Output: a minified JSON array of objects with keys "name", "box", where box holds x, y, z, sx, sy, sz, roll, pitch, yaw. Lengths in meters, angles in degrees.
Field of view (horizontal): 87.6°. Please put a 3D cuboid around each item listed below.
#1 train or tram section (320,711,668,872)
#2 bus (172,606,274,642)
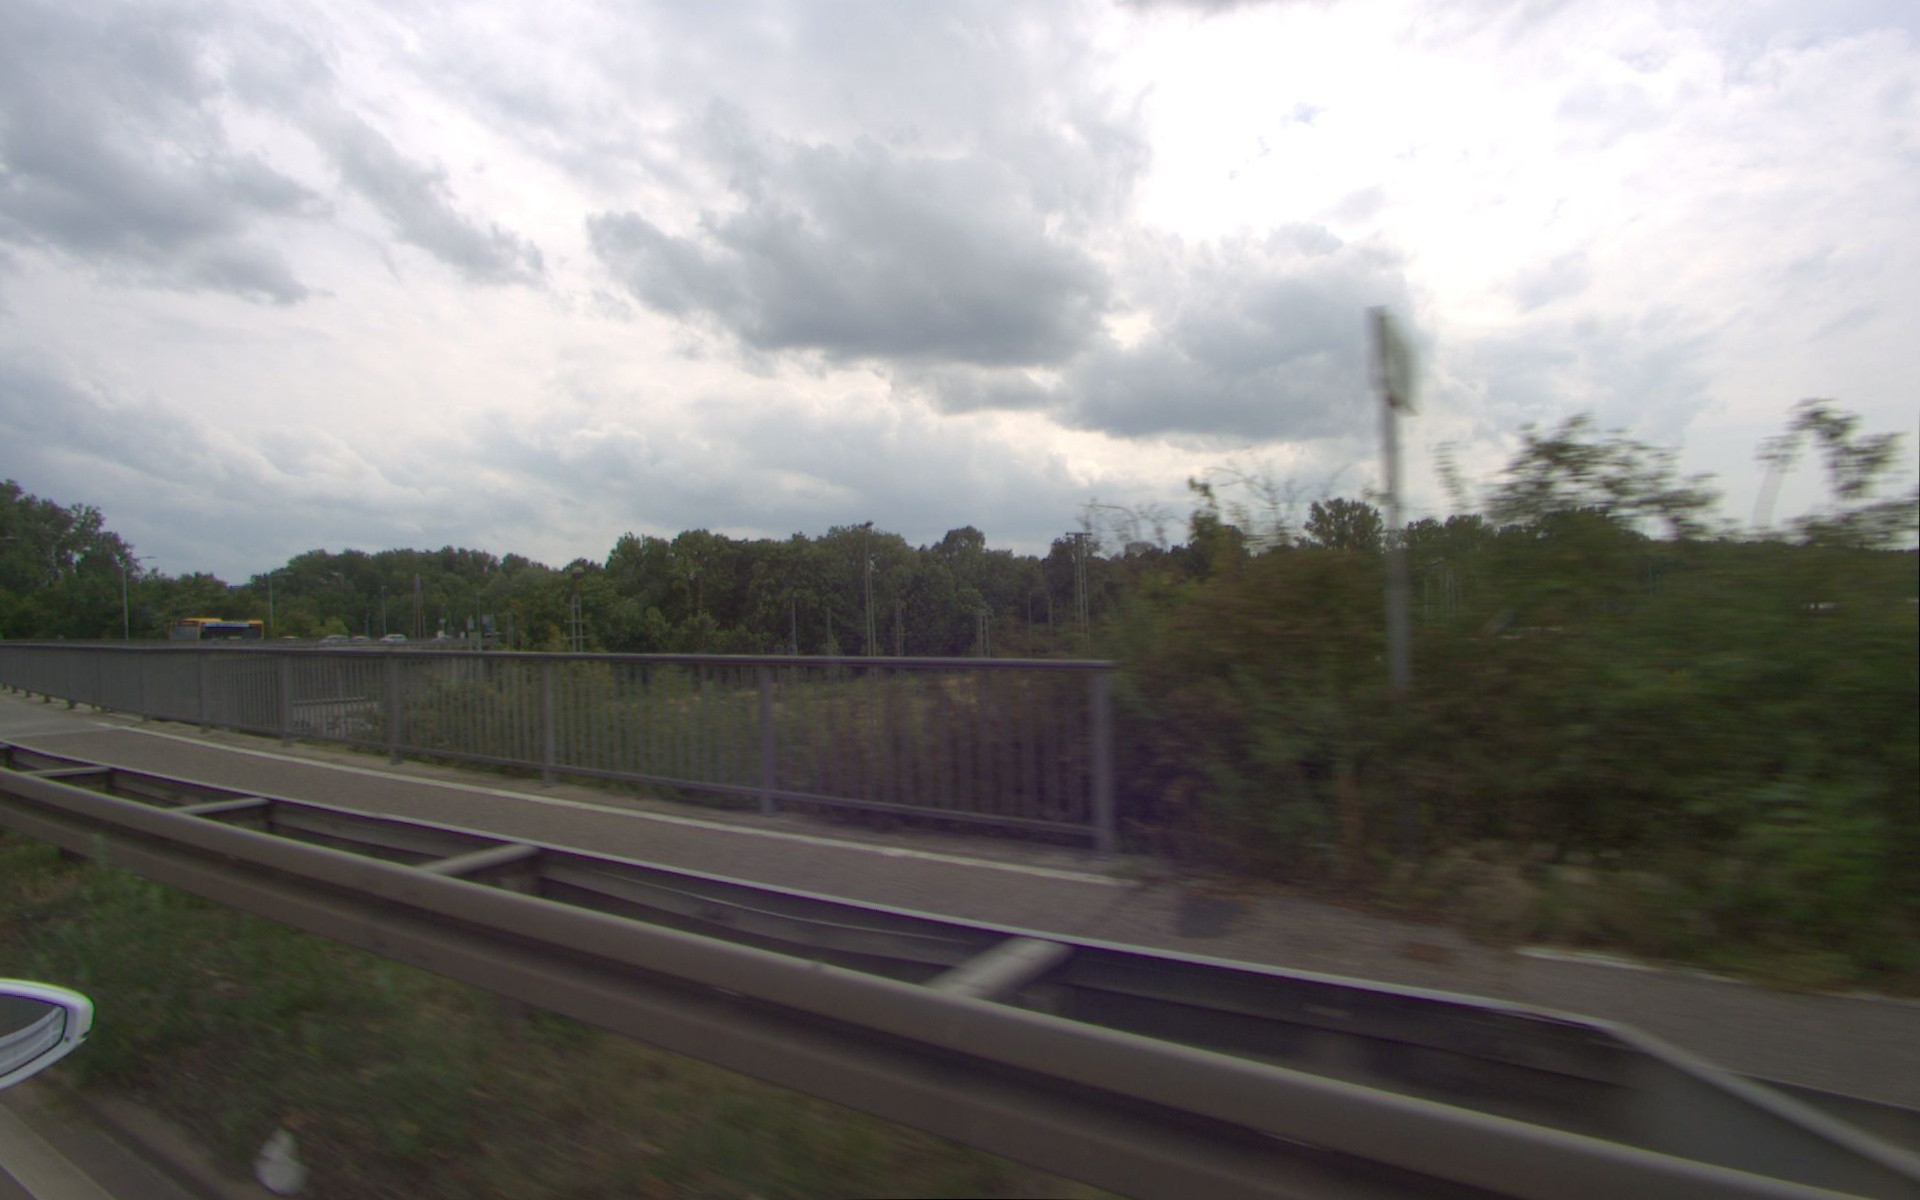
[{"name":"train or tram section","box":[-20.183,8.127,44.426,13.443,5.645,3.638,1,-2,-27]},{"name":"bus","box":[-72.694,2.448,99.259,2.985,3.274,12.944,0,-2,-12]}]
